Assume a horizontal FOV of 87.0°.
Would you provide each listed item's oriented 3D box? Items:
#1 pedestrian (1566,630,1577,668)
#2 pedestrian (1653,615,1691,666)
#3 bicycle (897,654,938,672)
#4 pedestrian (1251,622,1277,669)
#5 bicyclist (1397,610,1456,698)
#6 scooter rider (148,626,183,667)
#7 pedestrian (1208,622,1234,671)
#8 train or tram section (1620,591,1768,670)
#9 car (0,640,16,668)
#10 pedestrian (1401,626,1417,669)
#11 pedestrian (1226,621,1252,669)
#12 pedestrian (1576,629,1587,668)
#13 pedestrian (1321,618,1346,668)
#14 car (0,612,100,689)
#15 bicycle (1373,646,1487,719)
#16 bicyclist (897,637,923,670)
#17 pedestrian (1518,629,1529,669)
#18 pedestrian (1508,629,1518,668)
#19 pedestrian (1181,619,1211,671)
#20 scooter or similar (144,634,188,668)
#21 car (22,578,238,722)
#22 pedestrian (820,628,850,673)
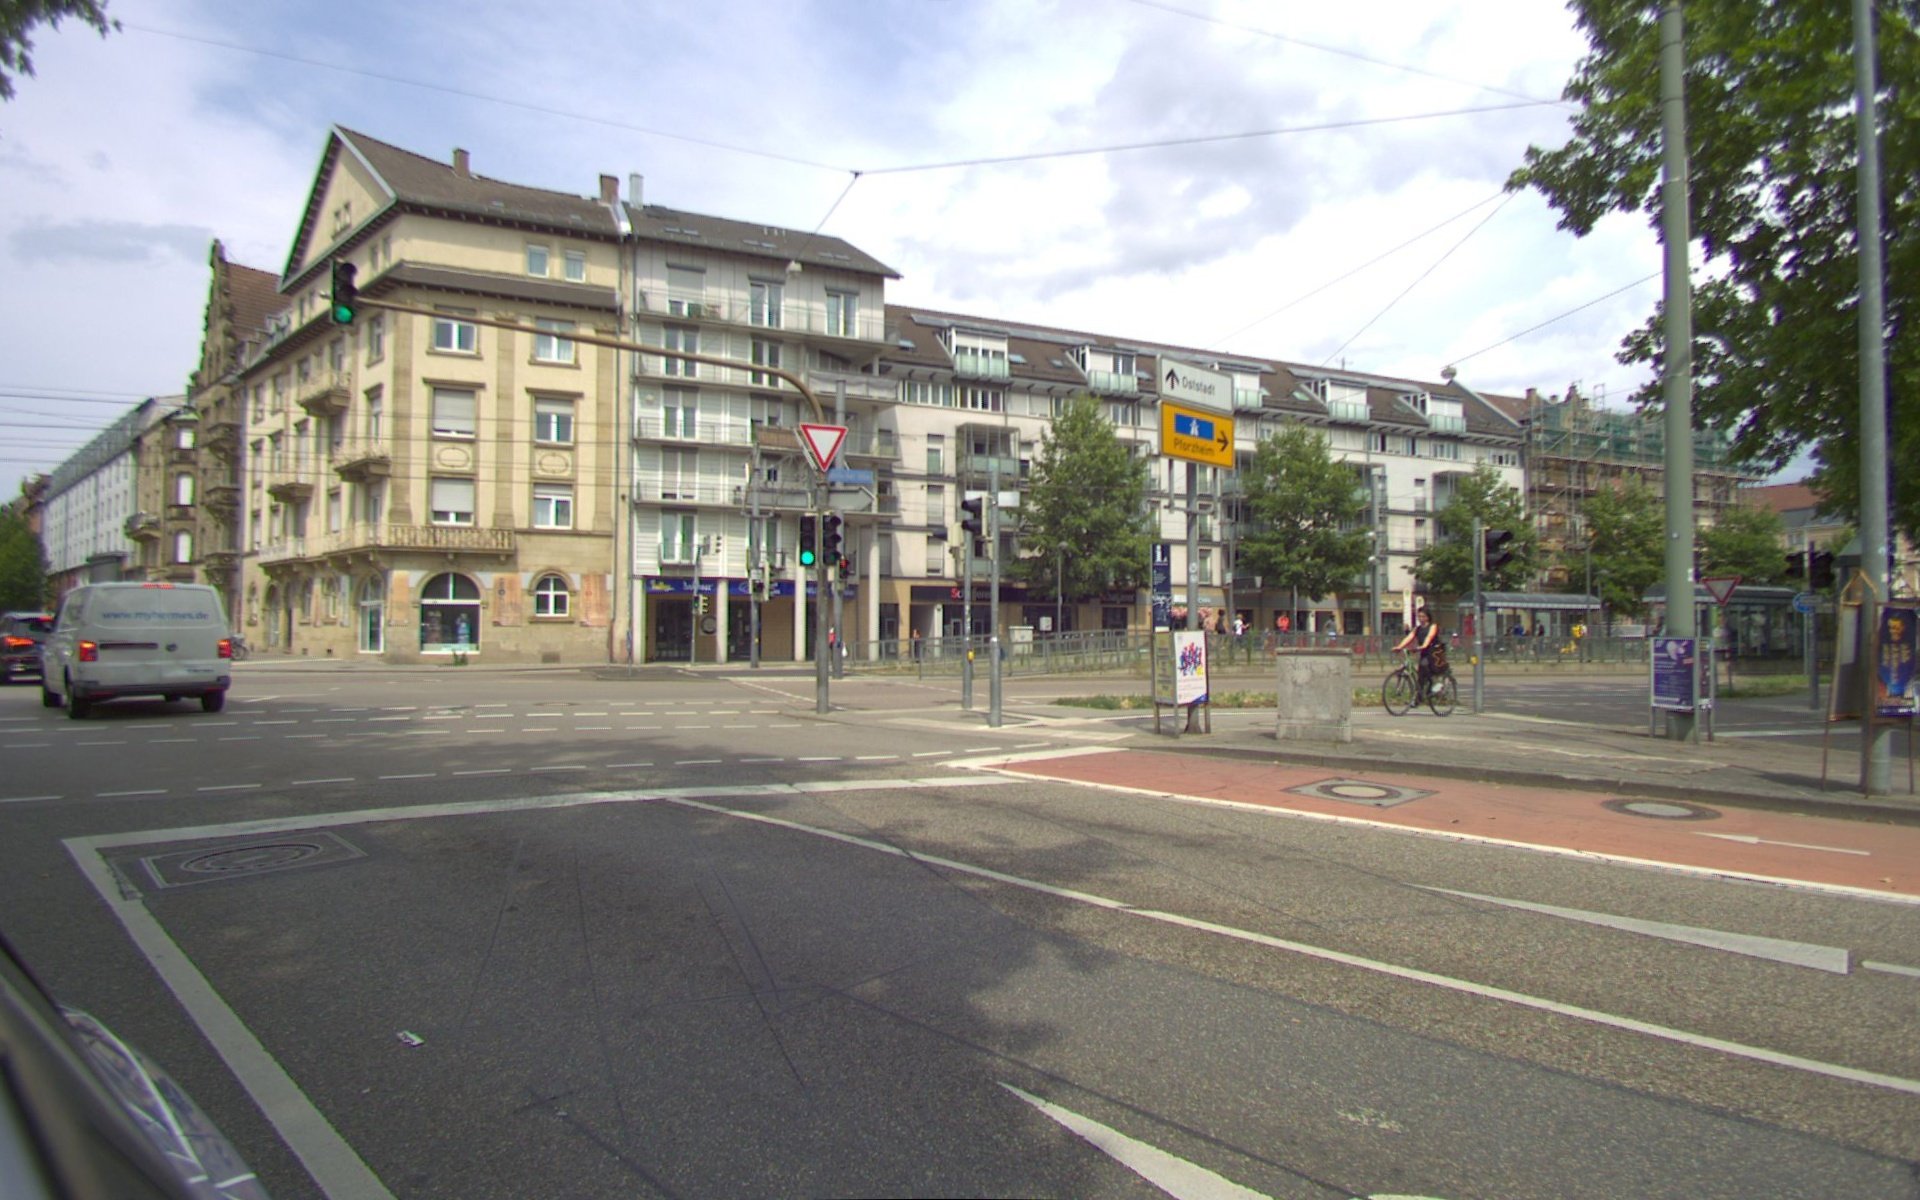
[{"bbox_3d":[30.821,2.473,50.992,0.307,1.898,0.326,2,-3,-34],"label":"pedestrian"},{"bbox_3d":[28.808,1.651,40.957,0.858,2.029,0.855,1,-3,-25],"label":"pedestrian"},{"bbox_3d":[-1.922,2.878,46.160,1.760,0.822,0.654,1,-3,-24],"label":"bicycle"},{"bbox_3d":[13.318,2.008,44.290,0.744,2.029,0.763,1,-3,-23],"label":"pedestrian"},{"bbox_3d":[7.365,0.862,15.975,0.739,1.352,0.493,3,-4,-28],"label":"bicyclist"},{"bbox_3d":[-27.214,1.592,34.676,1.087,1.387,0.731,-3,-4,42],"label":"scooter rider"},{"bbox_3d":[10.913,1.945,42.312,0.744,2.029,0.763,1,-3,-23],"label":"pedestrian"},{"bbox_3d":[34.279,1.492,47.221,7.386,3.340,2.374,3,-4,-26],"label":"train or tram section"},{"bbox_3d":[-54.528,3.023,56.756,3.996,1.535,1.745,-2,-5,40],"label":"car"},{"bbox_3d":[21.191,2.239,47.773,0.363,2.029,0.503,1,-3,-25],"label":"pedestrian"},{"bbox_3d":[12.000,1.942,43.549,0.744,2.029,0.763,1,-3,-23],"label":"pedestrian"},{"bbox_3d":[31.124,2.425,50.705,0.307,1.969,0.326,2,-3,-34],"label":"pedestrian"},{"bbox_3d":[17.263,1.988,46.765,0.744,2.267,0.763,1,-3,-23],"label":"pedestrian"},{"bbox_3d":[-21.780,1.151,23.761,4.426,1.660,1.803,-2,-2,42],"label":"car"},{"bbox_3d":[7.449,1.314,16.017,1.937,1.103,0.629,4,-4,-29],"label":"bicycle"},{"bbox_3d":[-2.273,2.431,46.028,0.983,1.455,0.643,1,-3,-24],"label":"bicyclist"},{"bbox_3d":[27.933,2.411,50.181,0.307,1.969,0.326,2,-3,-34],"label":"pedestrian"},{"bbox_3d":[27.646,2.421,50.585,0.307,1.969,0.326,2,-3,-34],"label":"pedestrian"},{"bbox_3d":[7.287,1.382,31.257,0.588,1.564,0.672,1,-2,-26],"label":"pedestrian"},{"bbox_3d":[-27.339,1.748,34.818,2.687,1.147,0.731,-3,-4,42],"label":"scooter or similar"},{"bbox_3d":[-13.303,0.762,16.112,4.945,1.951,1.903,-2,-2,42],"label":"car"},{"bbox_3d":[-4.385,1.767,35.601,0.824,1.564,0.870,1,-3,-25],"label":"pedestrian"}]
